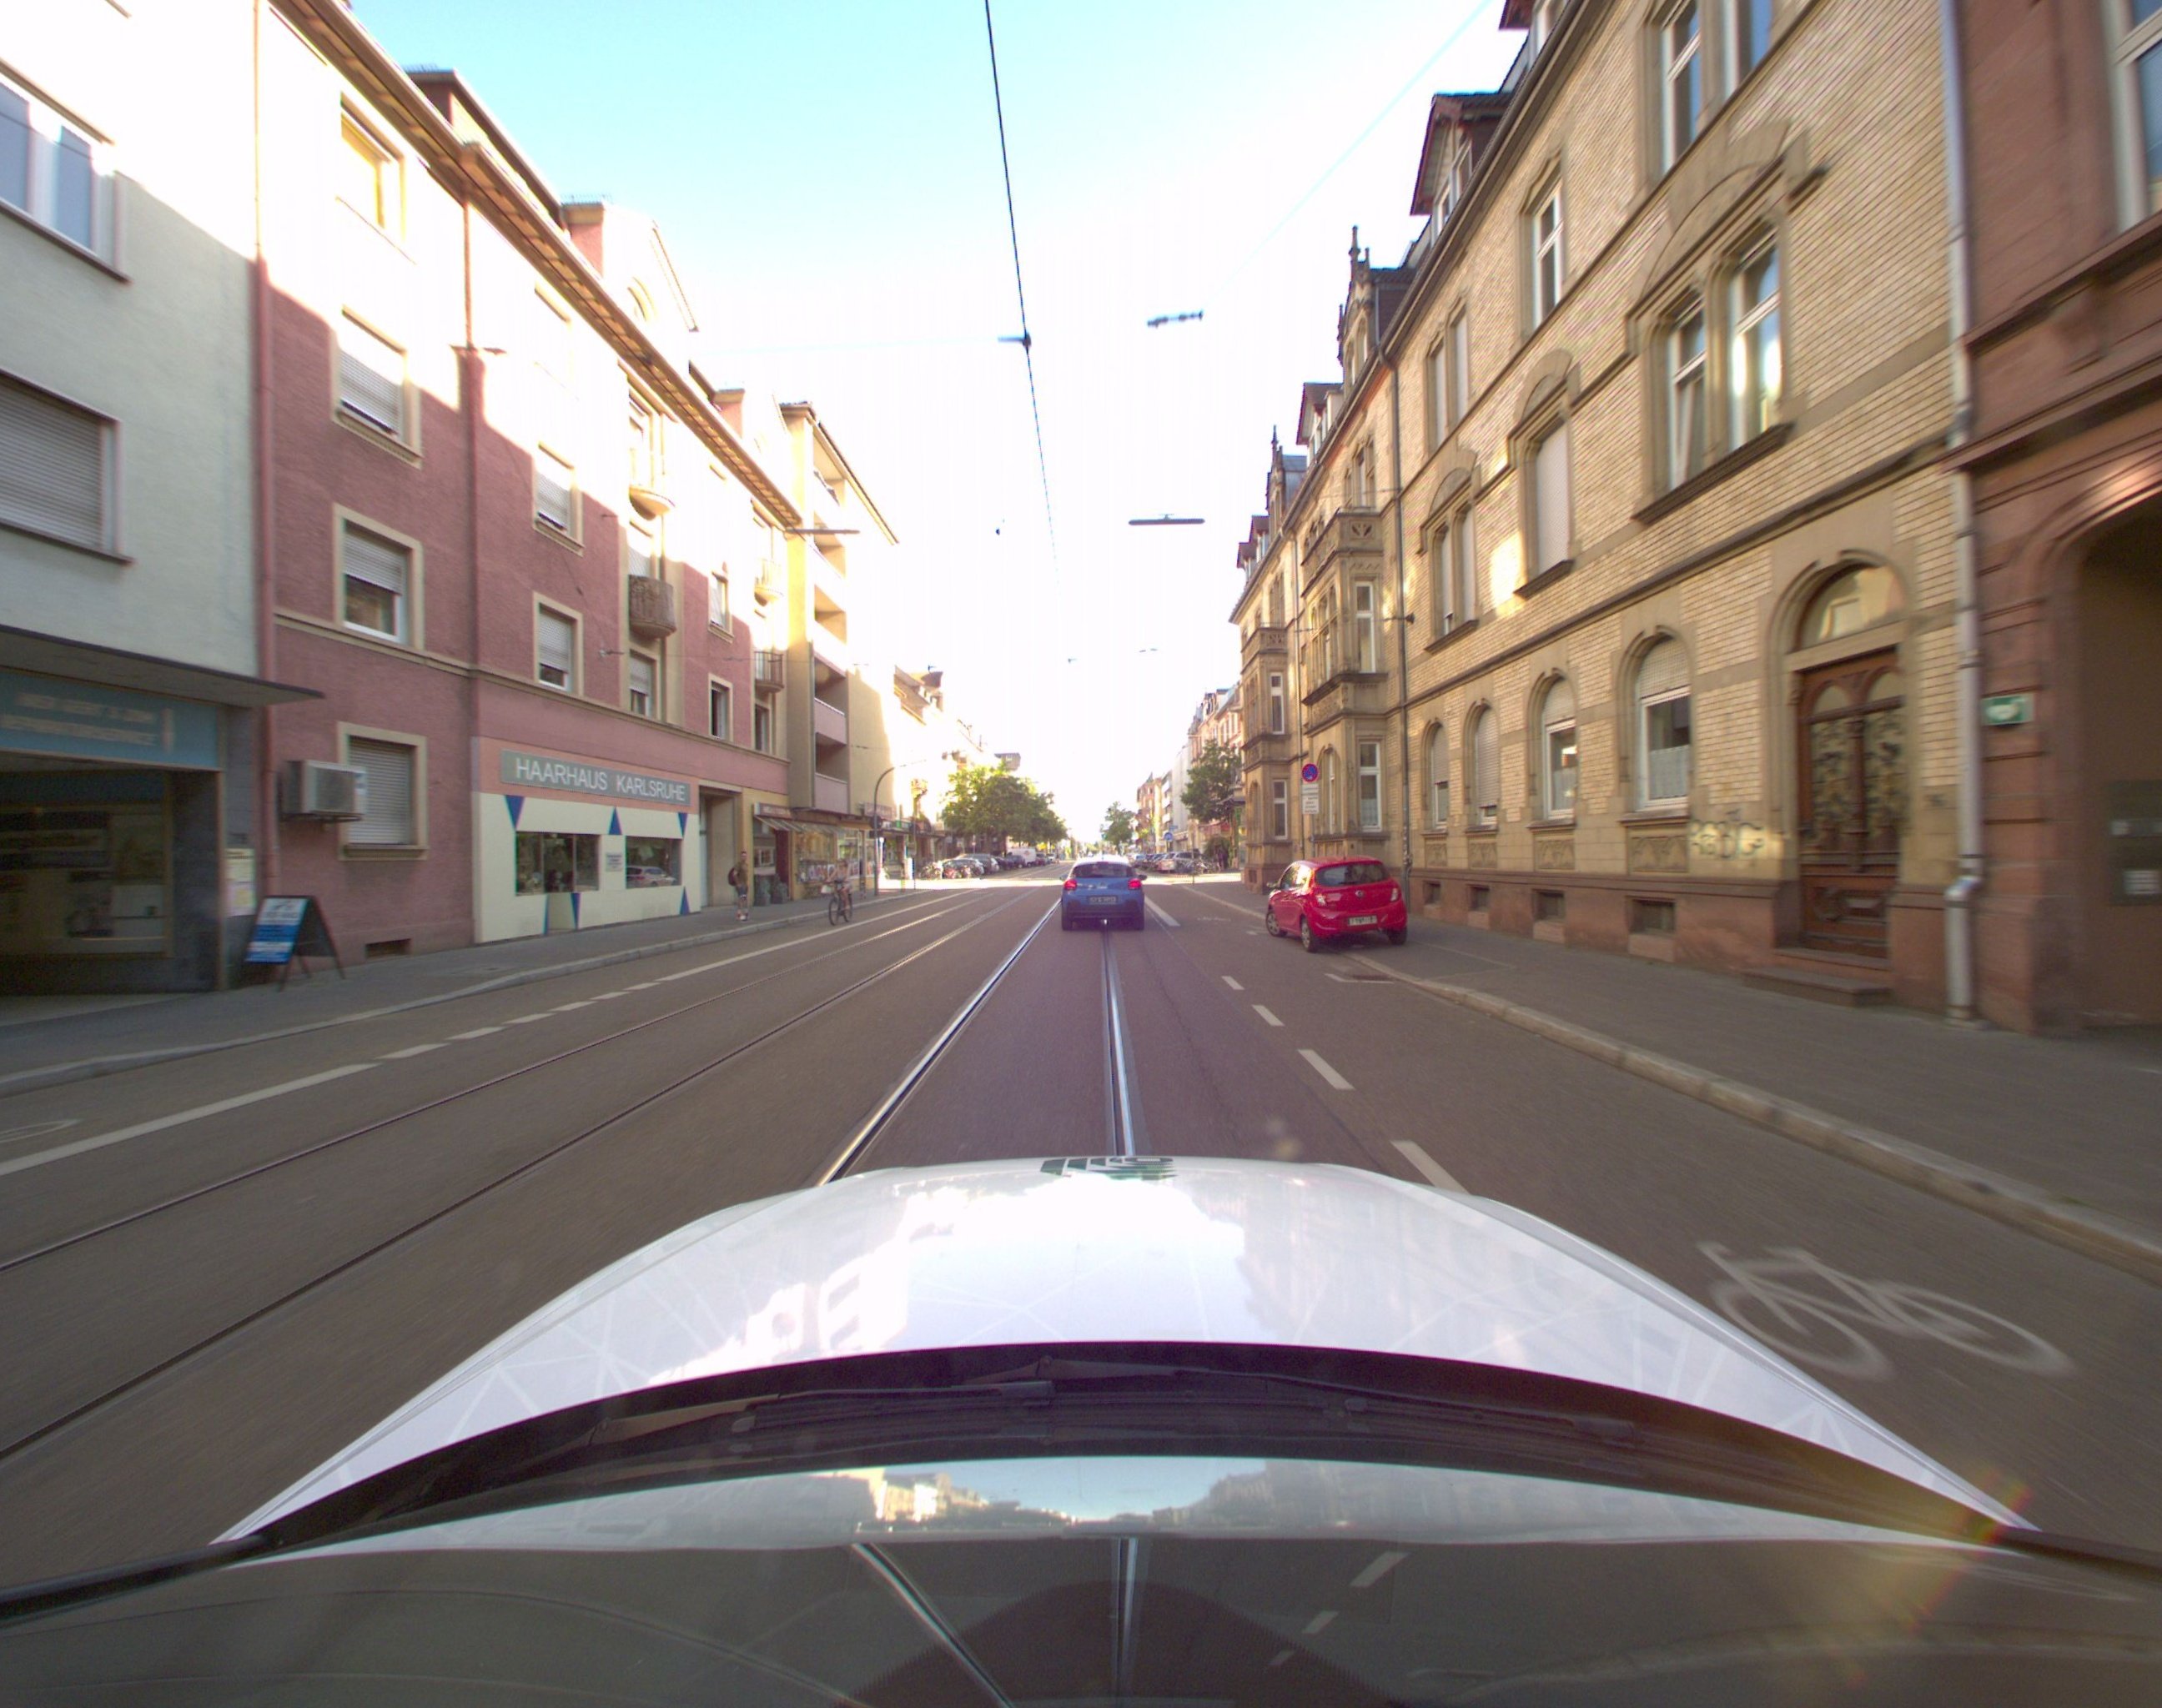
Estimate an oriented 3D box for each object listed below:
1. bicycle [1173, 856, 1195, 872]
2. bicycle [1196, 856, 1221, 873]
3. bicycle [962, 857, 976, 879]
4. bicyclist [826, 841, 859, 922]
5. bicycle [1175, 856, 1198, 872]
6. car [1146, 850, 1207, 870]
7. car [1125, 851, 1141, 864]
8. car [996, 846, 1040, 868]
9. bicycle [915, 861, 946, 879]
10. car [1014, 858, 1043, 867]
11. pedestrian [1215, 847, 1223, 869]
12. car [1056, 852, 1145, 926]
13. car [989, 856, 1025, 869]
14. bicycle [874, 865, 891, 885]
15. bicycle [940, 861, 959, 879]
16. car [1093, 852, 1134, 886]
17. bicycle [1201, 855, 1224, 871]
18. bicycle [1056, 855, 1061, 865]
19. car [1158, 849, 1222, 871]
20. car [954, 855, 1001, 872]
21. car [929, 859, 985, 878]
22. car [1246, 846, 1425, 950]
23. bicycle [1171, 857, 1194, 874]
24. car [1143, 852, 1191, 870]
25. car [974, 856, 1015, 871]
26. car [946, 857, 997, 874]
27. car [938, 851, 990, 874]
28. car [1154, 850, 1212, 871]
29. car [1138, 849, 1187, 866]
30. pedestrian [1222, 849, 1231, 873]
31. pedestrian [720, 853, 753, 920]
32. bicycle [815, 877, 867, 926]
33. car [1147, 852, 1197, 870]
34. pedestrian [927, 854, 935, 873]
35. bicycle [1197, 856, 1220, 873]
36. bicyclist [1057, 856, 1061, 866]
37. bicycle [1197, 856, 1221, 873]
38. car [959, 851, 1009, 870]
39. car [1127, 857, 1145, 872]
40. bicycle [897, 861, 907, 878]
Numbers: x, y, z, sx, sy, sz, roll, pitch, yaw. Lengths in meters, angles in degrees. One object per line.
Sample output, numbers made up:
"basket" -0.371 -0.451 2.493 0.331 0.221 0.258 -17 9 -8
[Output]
"bicycle" 7.161 0.681 56.689 1.551 1.127 0.295 0 -1 7
"bicycle" 8.623 0.684 55.302 1.665 1.127 0.552 0 -1 7
"bicycle" -7.661 0.947 55.810 0.680 1.319 2.433 -1 2 -3
"bicyclist" -6.035 0.690 20.615 0.609 2.014 0.734 0 -1 1
"bicycle" 7.290 0.678 56.303 1.547 1.079 0.308 0 -1 7
"car" 7.697 0.482 65.636 4.454 1.596 2.072 0 -1 -24
"car" 6.463 0.481 101.324 1.866 1.596 4.001 0 0 2
"car" -7.993 0.387 103.463 5.402 2.749 1.789 0 -1 -29
"bicycle" -10.183 1.095 55.044 2.405 1.109 0.688 1 2 41
"car" -7.380 1.198 113.832 3.815 1.265 1.504 0 -1 -25
"pedestrian" 10.458 0.299 61.676 0.516 1.648 0.864 0 -1 1
"car" 0.414 0.707 17.816 1.756 1.441 3.557 0 0 1
"car" -8.899 1.020 97.630 3.994 1.489 1.797 0 -1 -16
"bicycle" -12.295 1.302 50.519 0.680 1.109 2.431 -1 2 -5
"bicycle" -8.996 1.064 55.560 0.686 1.123 1.870 -1 2 -30
"car" 1.572 0.709 39.828 1.866 1.596 4.001 0 0 2
"bicycle" 9.178 0.611 56.704 1.547 1.127 0.552 0 -1 7
"bicycle" -3.830 1.101 139.467 0.678 1.679 2.097 0 -1 1
"car" 8.049 0.413 59.965 4.371 1.596 1.839 0 -1 -24
"car" -9.311 0.855 73.068 3.850 1.430 1.751 0 -1 -25
"car" -9.351 1.063 61.415 3.805 1.400 1.737 0 -1 -32
"car" 4.392 0.703 14.809 1.859 1.483 4.401 -4 -1 1
"bicycle" 6.796 0.760 54.553 1.395 1.127 0.550 0 -1 -6
"car" 8.005 0.620 75.871 4.005 1.596 2.071 0 -1 -24
"car" -9.148 0.995 86.096 4.008 1.489 1.790 0 -1 -27
"car" -9.401 0.979 69.788 4.032 1.449 1.682 0 -1 -32
"car" -9.644 0.688 67.068 3.831 1.785 1.781 0 -1 -27
"car" 7.831 0.489 62.619 4.005 1.536 1.903 0 -1 -24
"car" 7.814 0.357 78.456 4.322 1.596 1.967 0 -1 -24
"pedestrian" 11.086 0.525 62.000 0.516 1.778 0.864 0 -1 1
"pedestrian" -8.823 0.815 20.862 0.561 1.686 0.616 0 -1 0
"bicycle" -6.040 1.167 20.600 0.600 1.096 2.045 -3 -1 2
"car" 8.133 0.596 72.953 4.005 1.596 1.944 0 -1 -24
"pedestrian" -13.536 0.868 73.670 0.567 1.652 0.641 0 -1 1
"bicycle" 8.559 0.686 54.722 1.547 1.127 0.529 0 -1 7
"bicyclist" -3.835 1.225 139.591 0.632 1.681 0.727 0 -1 1
"bicycle" 8.477 0.694 54.135 1.547 1.127 0.552 0 -1 7
"car" -9.244 0.634 77.900 4.381 1.783 1.976 0 -1 -32
"car" 6.071 1.147 90.672 1.866 1.596 4.721 0 0 2
"bicycle" -12.187 1.061 55.479 0.404 1.109 1.825 -1 -1 -20
